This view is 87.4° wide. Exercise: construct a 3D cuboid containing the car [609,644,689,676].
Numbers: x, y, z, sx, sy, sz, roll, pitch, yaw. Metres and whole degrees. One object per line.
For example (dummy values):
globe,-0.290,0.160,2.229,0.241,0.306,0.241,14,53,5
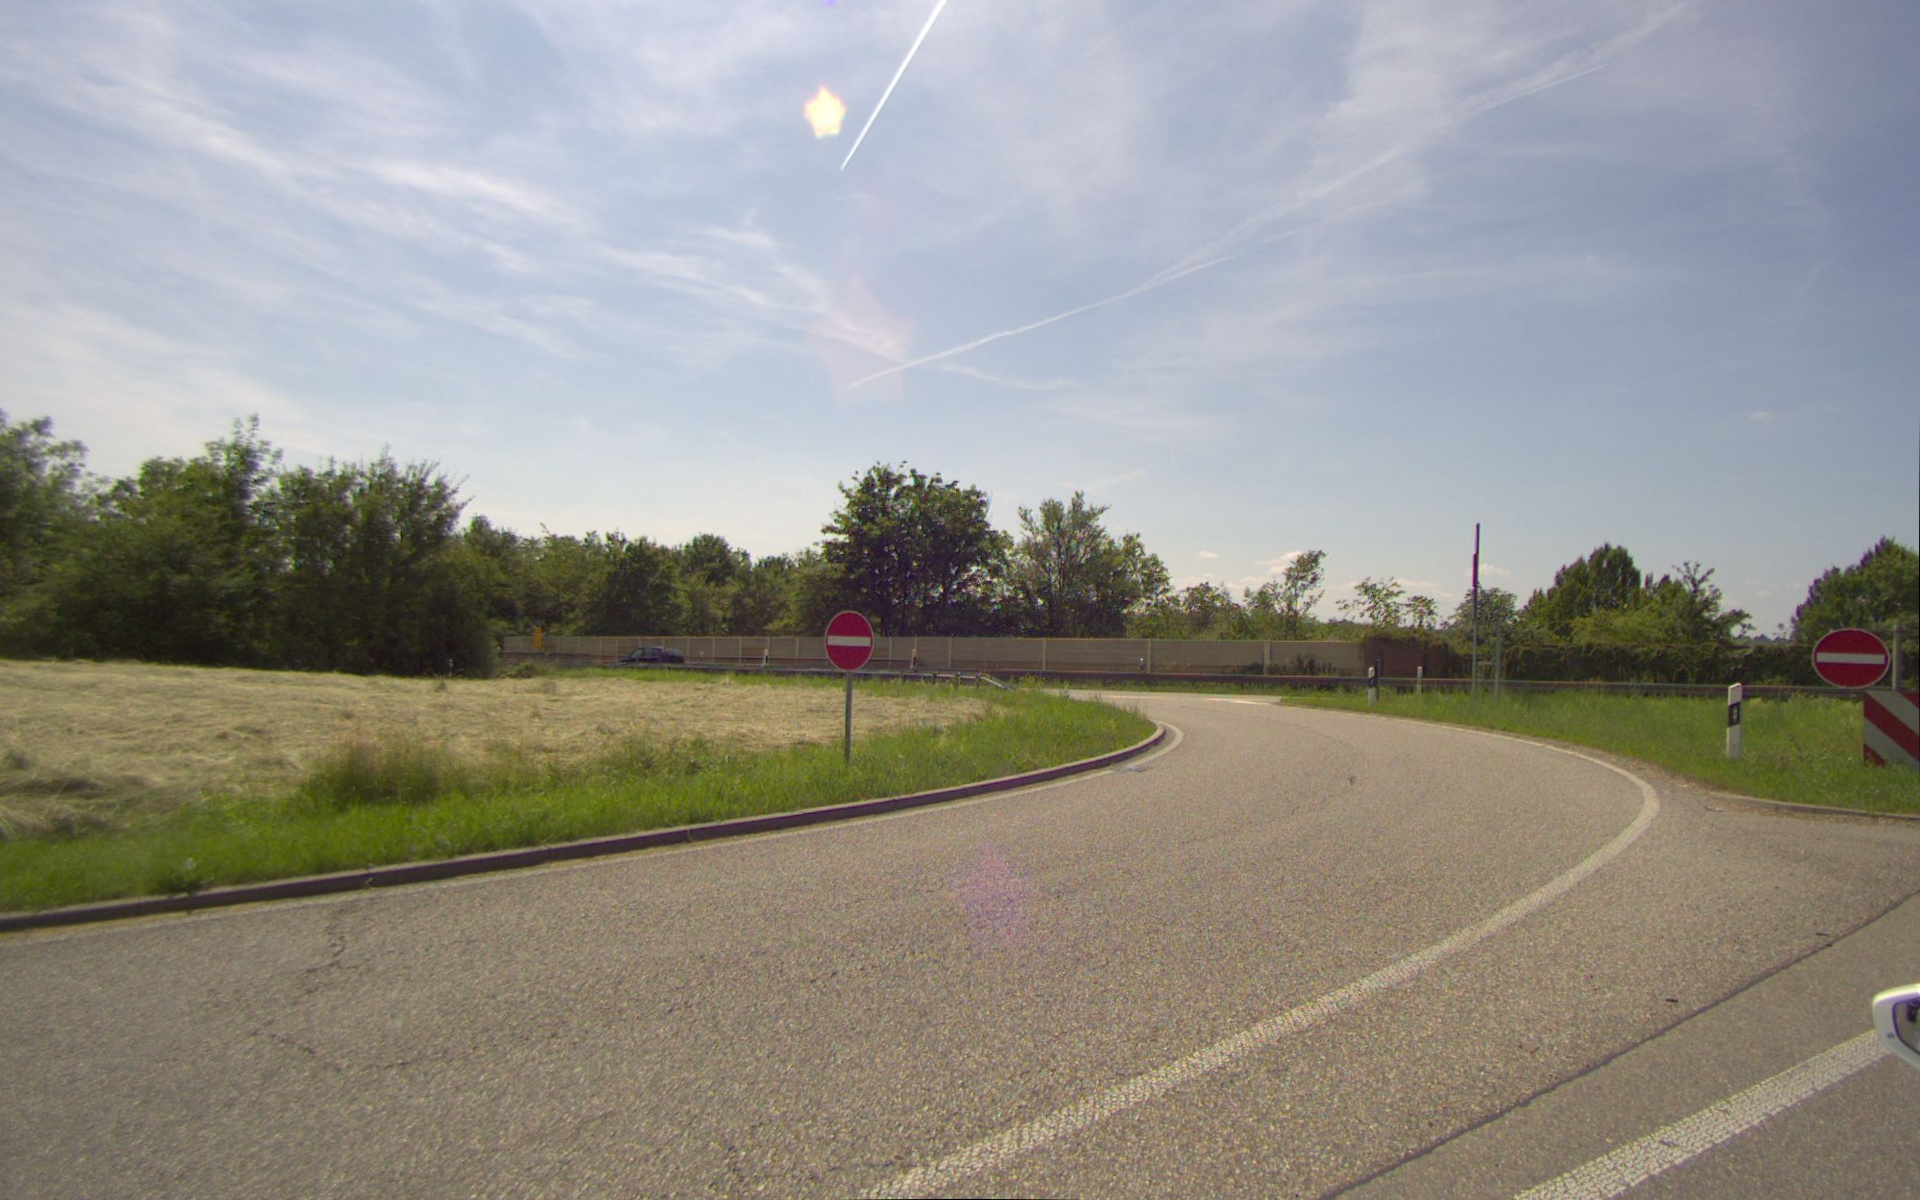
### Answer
car,-16.326,3.110,52.679,4.034,1.559,1.752,0,-2,30
